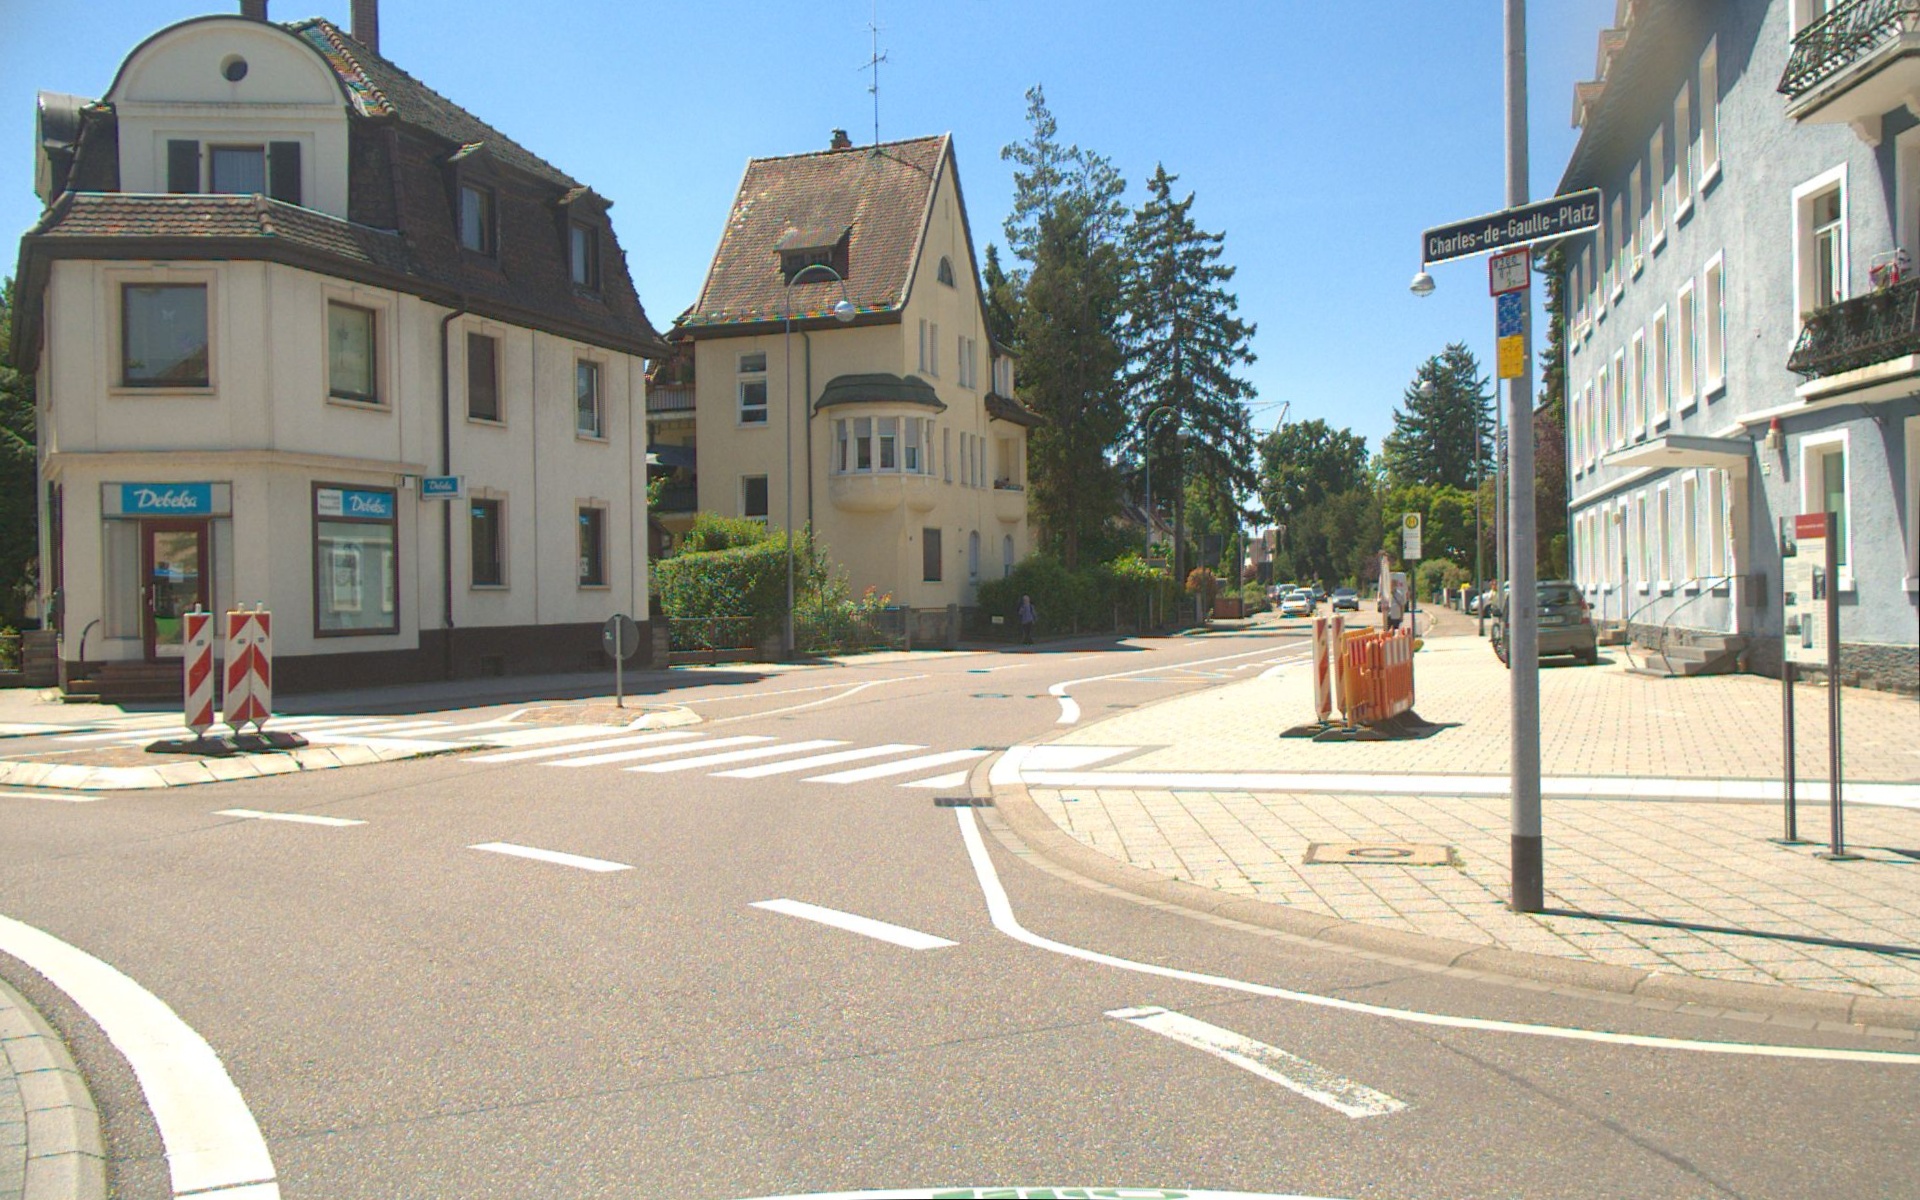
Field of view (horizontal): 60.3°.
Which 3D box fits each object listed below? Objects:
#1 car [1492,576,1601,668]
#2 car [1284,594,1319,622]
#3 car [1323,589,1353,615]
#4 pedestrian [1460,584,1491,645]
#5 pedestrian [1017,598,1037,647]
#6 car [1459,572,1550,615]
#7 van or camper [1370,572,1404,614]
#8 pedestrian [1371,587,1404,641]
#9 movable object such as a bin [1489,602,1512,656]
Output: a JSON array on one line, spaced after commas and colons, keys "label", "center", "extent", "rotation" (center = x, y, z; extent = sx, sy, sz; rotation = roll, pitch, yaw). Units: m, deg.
[{"label": "car", "center": [11.000, 0.370, 31.185], "extent": [1.605, 1.533, 3.566], "rotation": [-4, 0, 16]}, {"label": "car", "center": [21.636, 0.498, 104.665], "extent": [1.951, 1.680, 4.003], "rotation": [0, 0, 15]}, {"label": "car", "center": [26.686, 0.137, 116.689], "extent": [1.951, 1.747, 4.003], "rotation": [0, 0, 15]}, {"label": "pedestrian", "center": [14.223, 0.386, 45.592], "extent": [0.653, 1.621, 0.587], "rotation": [-4, -1, 23]}, {"label": "pedestrian", "center": [2.148, 0.722, 52.907], "extent": [0.512, 1.535, 0.473], "rotation": [-1, 0, 22]}, {"label": "car", "center": [26.285, -0.310, 79.929], "extent": [3.902, 2.049, 2.002], "rotation": [0, 0, 10]}, {"label": "van or camper", "center": [28.281, -0.454, 109.594], "extent": [2.158, 2.656, 4.003], "rotation": [0, 0, 14]}, {"label": "pedestrian", "center": [10.918, 0.354, 42.261], "extent": [0.653, 1.308, 0.587], "rotation": [-4, -1, 23]}, {"label": "movable object such as a bin", "center": [11.675, 0.625, 35.715], "extent": [0.277, 1.143, 1.184], "rotation": [-3, -1, 26]}]
